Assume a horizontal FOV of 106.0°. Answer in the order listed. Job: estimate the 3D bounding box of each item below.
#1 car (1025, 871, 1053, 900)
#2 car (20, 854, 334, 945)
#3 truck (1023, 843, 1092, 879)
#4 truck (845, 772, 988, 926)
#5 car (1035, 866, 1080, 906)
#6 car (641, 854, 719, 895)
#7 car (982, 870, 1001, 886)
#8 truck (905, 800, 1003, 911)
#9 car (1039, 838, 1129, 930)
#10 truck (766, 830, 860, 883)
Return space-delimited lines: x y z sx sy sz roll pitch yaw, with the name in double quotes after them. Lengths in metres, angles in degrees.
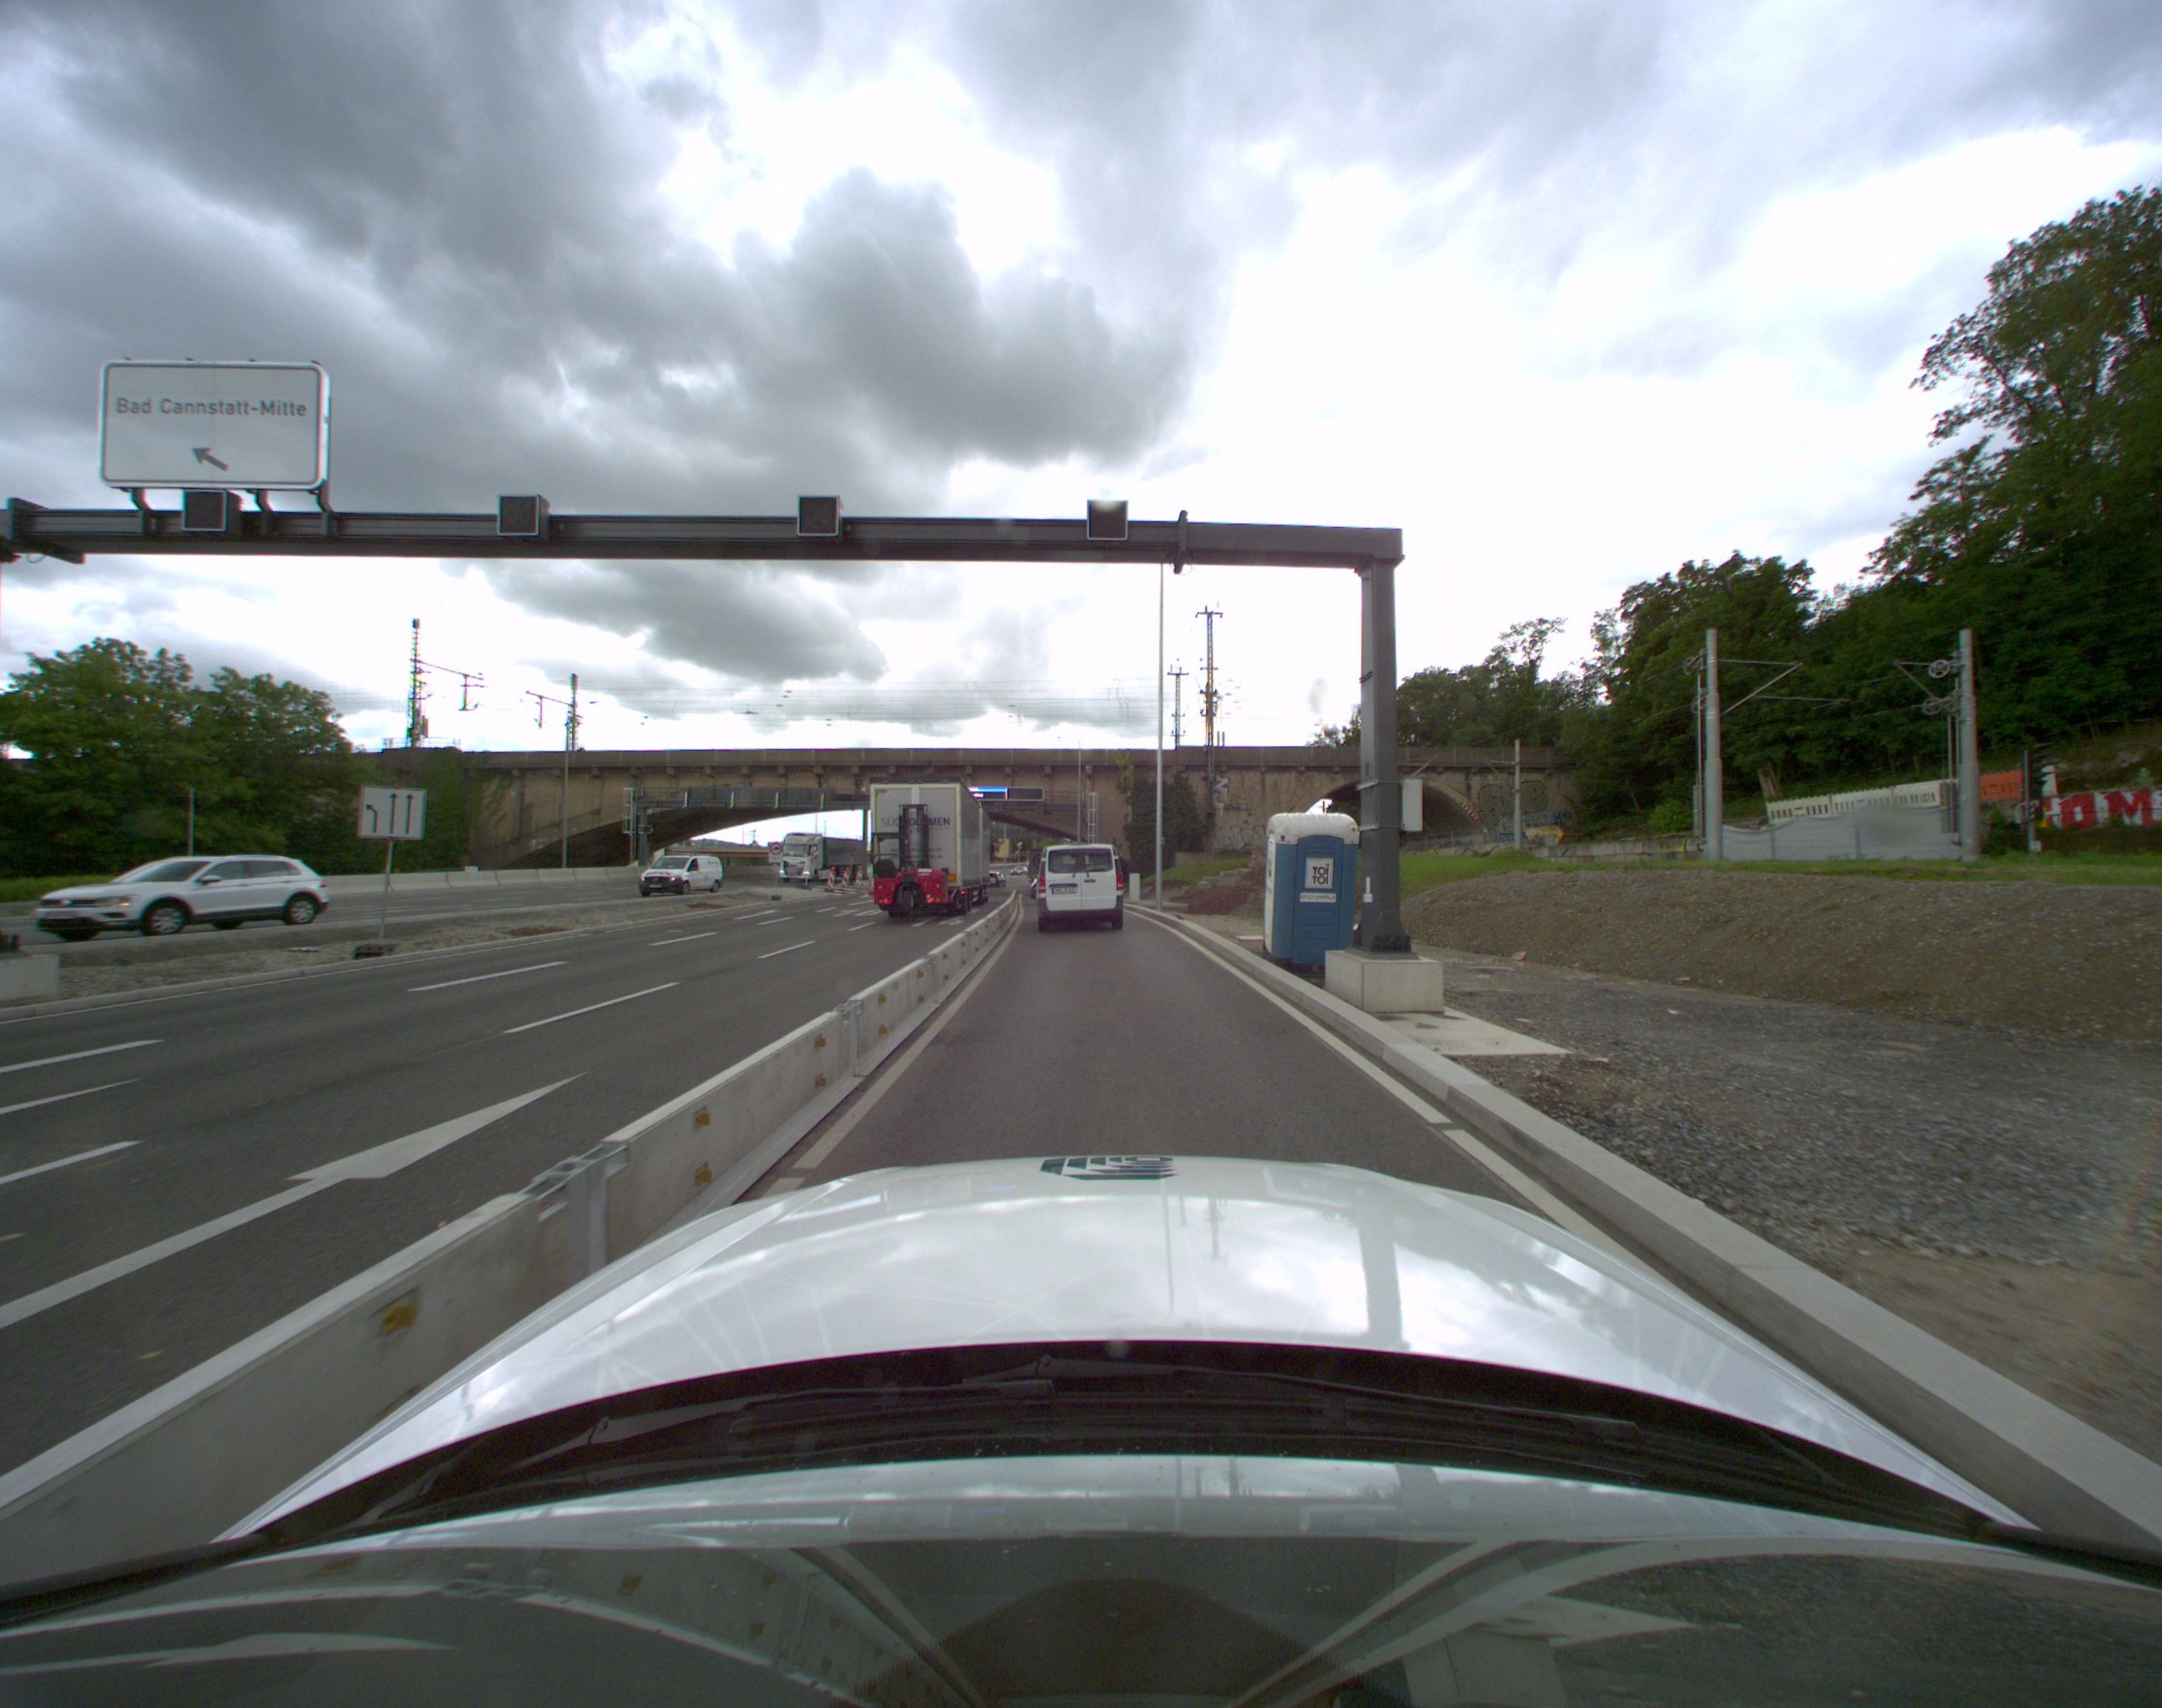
-2.344 1.770 46.186 1.497 1.469 3.396 1 0 -2 "car"
-18.598 0.843 17.128 1.794 1.662 4.286 0 0 0 "car"
-2.403 0.881 95.654 3.292 3.809 16.658 2 -1 15 "truck"
-4.907 -0.071 26.576 2.910 4.017 10.190 1 -1 -2 "truck"
-0.968 1.335 35.232 1.743 1.625 3.844 0 -1 1 "car"
-18.521 0.908 37.793 1.821 1.807 3.798 0 0 -2 "car"
-8.839 2.341 80.478 1.755 1.552 3.991 0 0 -6 "car"
-5.379 0.129 36.638 2.980 4.176 11.229 1 -1 -2 "truck"
-0.009 0.692 19.409 1.871 1.891 4.748 -1 -1 -2 "car"
-22.380 0.212 69.336 2.888 4.062 13.995 0 0 2 "truck"
